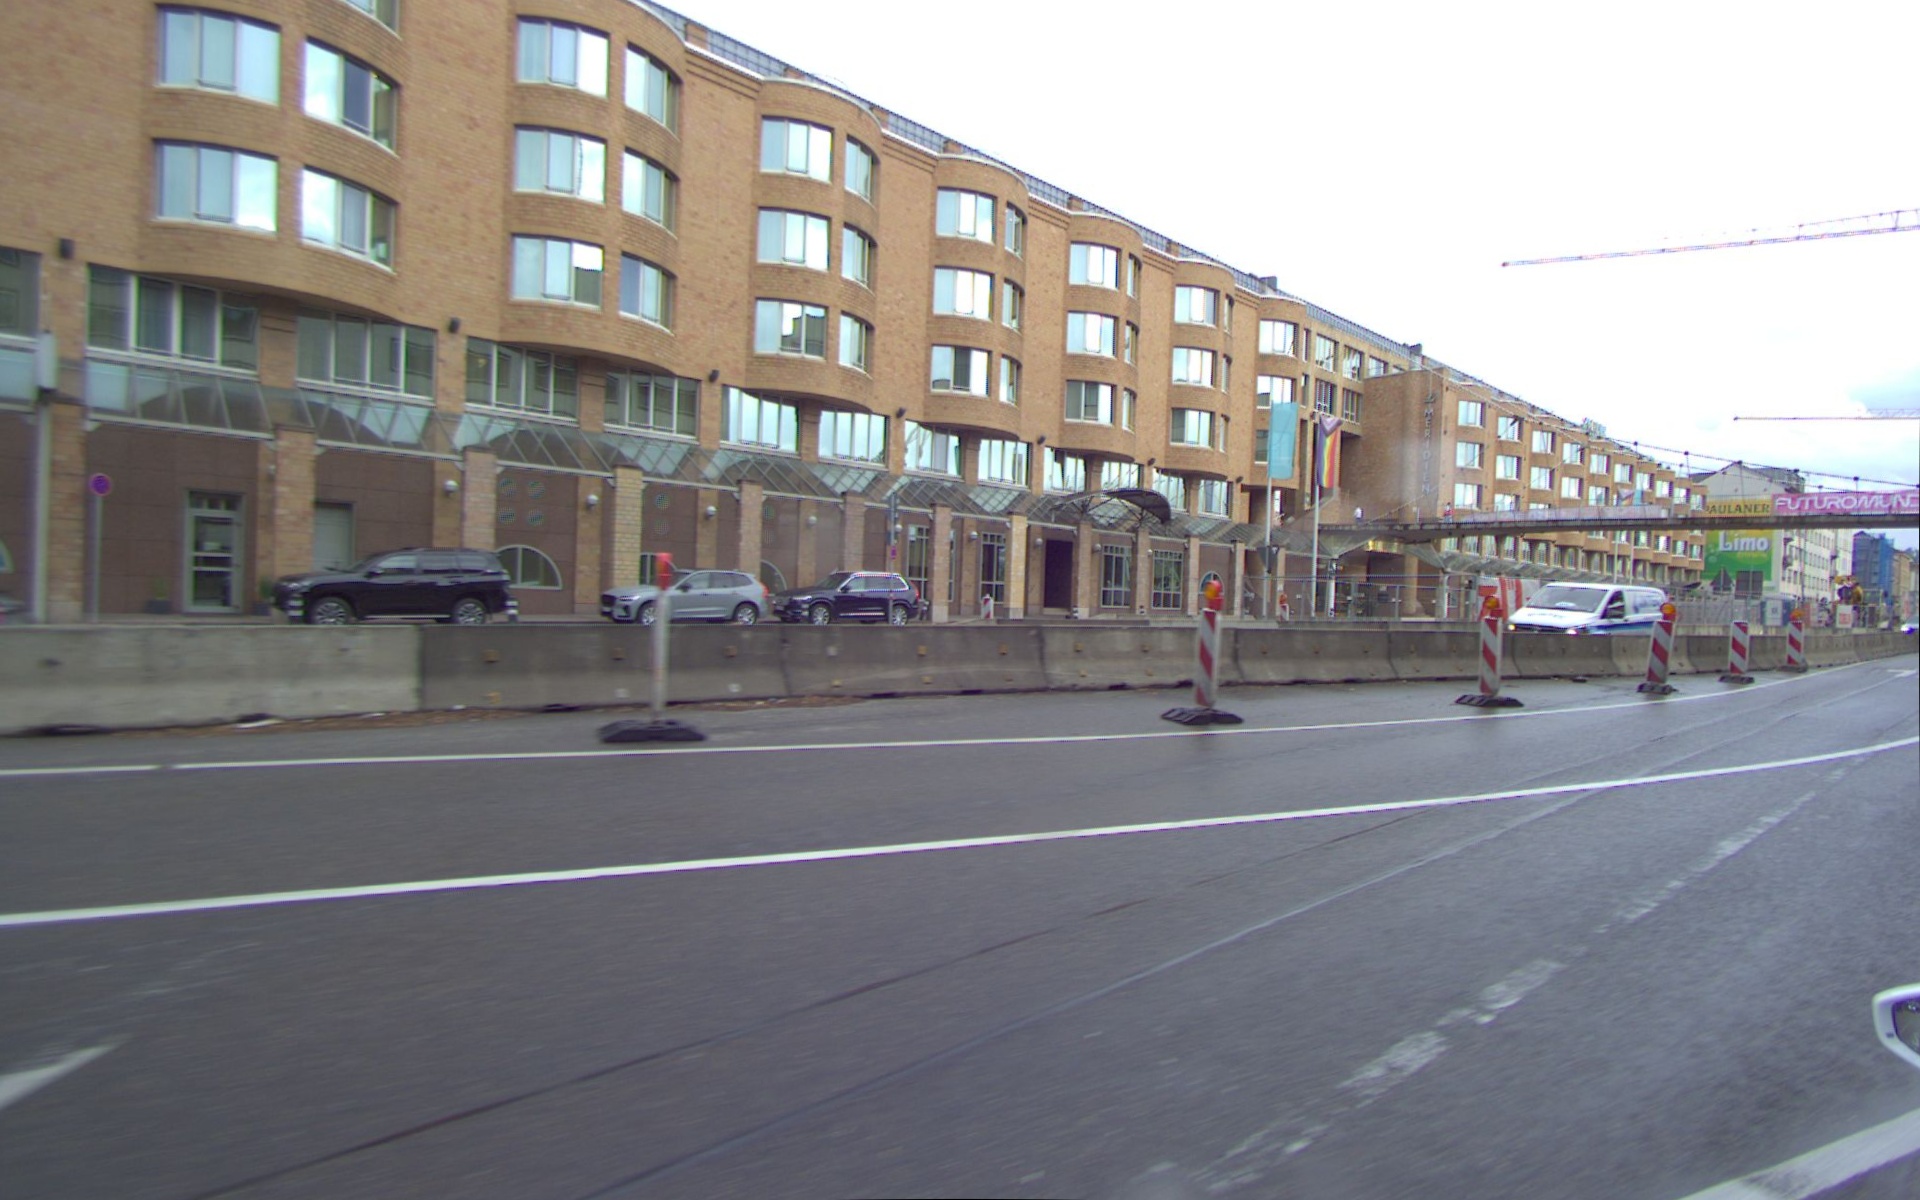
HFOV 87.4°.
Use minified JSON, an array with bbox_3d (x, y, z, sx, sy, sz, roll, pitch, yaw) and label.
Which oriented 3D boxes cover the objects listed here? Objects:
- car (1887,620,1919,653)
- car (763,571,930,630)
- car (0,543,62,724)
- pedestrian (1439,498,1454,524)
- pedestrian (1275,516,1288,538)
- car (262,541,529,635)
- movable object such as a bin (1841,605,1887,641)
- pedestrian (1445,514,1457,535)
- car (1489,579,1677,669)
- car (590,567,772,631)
[{"bbox_3d":[52.605,1.997,55.120,4.664,1.645,1.976,0,1,-40],"label":"car"},{"bbox_3d":[-3.526,0.005,31.839,5.010,1.713,1.976,1,1,-41],"label":"car"},{"bbox_3d":[-9.984,0.219,7.862,4.188,1.479,1.979,1,1,-36],"label":"car"},{"bbox_3d":[29.399,-5.362,60.702,0.613,1.471,0.616,0,0,-38],"label":"pedestrian"},{"bbox_3d":[22.013,-4.991,68.806,0.613,1.471,0.616,0,0,-38],"label":"pedestrian"},{"bbox_3d":[-12.704,-0.247,22.838,4.980,1.911,1.974,1,1,-44],"label":"car"},{"bbox_3d":[60.882,1.562,67.600,4.265,2.307,2.007,1,-3,-45],"label":"movable object such as a bin"},{"bbox_3d":[29.770,-4.594,60.935,0.480,1.210,0.471,0,0,-38],"label":"pedestrian"},{"bbox_3d":[14.753,0.535,23.705,4.820,1.910,1.981,1,1,-35],"label":"car"},{"bbox_3d":[-7.703,-0.030,28.029,4.510,1.615,1.974,1,1,-44],"label":"car"}]
